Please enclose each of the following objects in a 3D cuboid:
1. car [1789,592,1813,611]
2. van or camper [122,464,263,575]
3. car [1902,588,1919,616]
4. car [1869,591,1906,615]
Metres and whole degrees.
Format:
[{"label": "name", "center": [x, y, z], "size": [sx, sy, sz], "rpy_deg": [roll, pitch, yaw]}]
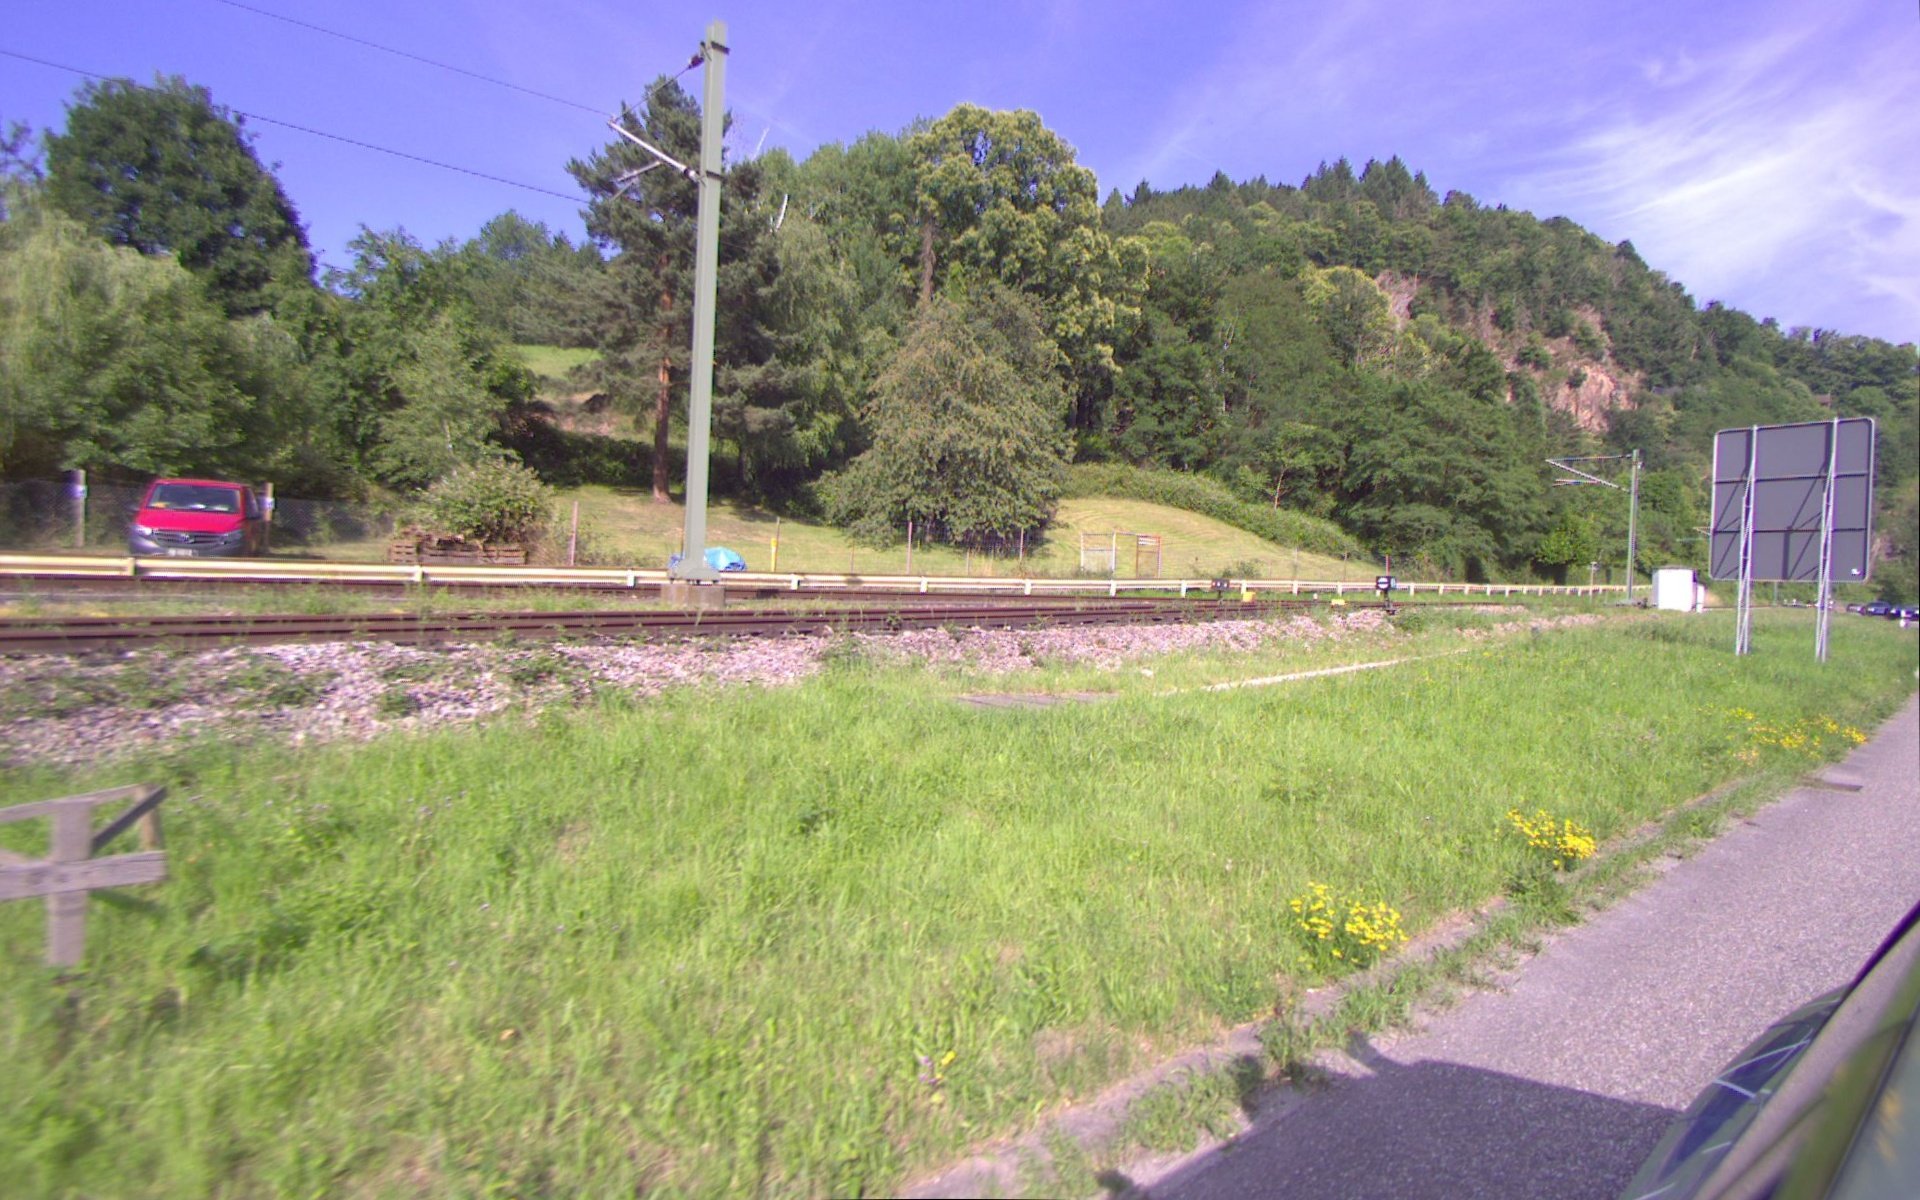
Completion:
[{"label": "car", "center": [101.790, 0.176, 122.449], "size": [1.993, 2.038, 3.940], "rpy_deg": [5, 3, 41]}, {"label": "van or camper", "center": [-15.942, -1.666, 21.262], "size": [2.080, 1.952, 5.438], "rpy_deg": [1, 3, -35]}, {"label": "car", "center": [74.113, 0.192, 77.998], "size": [3.935, 2.038, 1.996], "rpy_deg": [1, 3, -45]}, {"label": "car", "center": [83.984, 0.270, 91.698], "size": [1.990, 2.038, 3.946], "rpy_deg": [5, 3, 37]}]
